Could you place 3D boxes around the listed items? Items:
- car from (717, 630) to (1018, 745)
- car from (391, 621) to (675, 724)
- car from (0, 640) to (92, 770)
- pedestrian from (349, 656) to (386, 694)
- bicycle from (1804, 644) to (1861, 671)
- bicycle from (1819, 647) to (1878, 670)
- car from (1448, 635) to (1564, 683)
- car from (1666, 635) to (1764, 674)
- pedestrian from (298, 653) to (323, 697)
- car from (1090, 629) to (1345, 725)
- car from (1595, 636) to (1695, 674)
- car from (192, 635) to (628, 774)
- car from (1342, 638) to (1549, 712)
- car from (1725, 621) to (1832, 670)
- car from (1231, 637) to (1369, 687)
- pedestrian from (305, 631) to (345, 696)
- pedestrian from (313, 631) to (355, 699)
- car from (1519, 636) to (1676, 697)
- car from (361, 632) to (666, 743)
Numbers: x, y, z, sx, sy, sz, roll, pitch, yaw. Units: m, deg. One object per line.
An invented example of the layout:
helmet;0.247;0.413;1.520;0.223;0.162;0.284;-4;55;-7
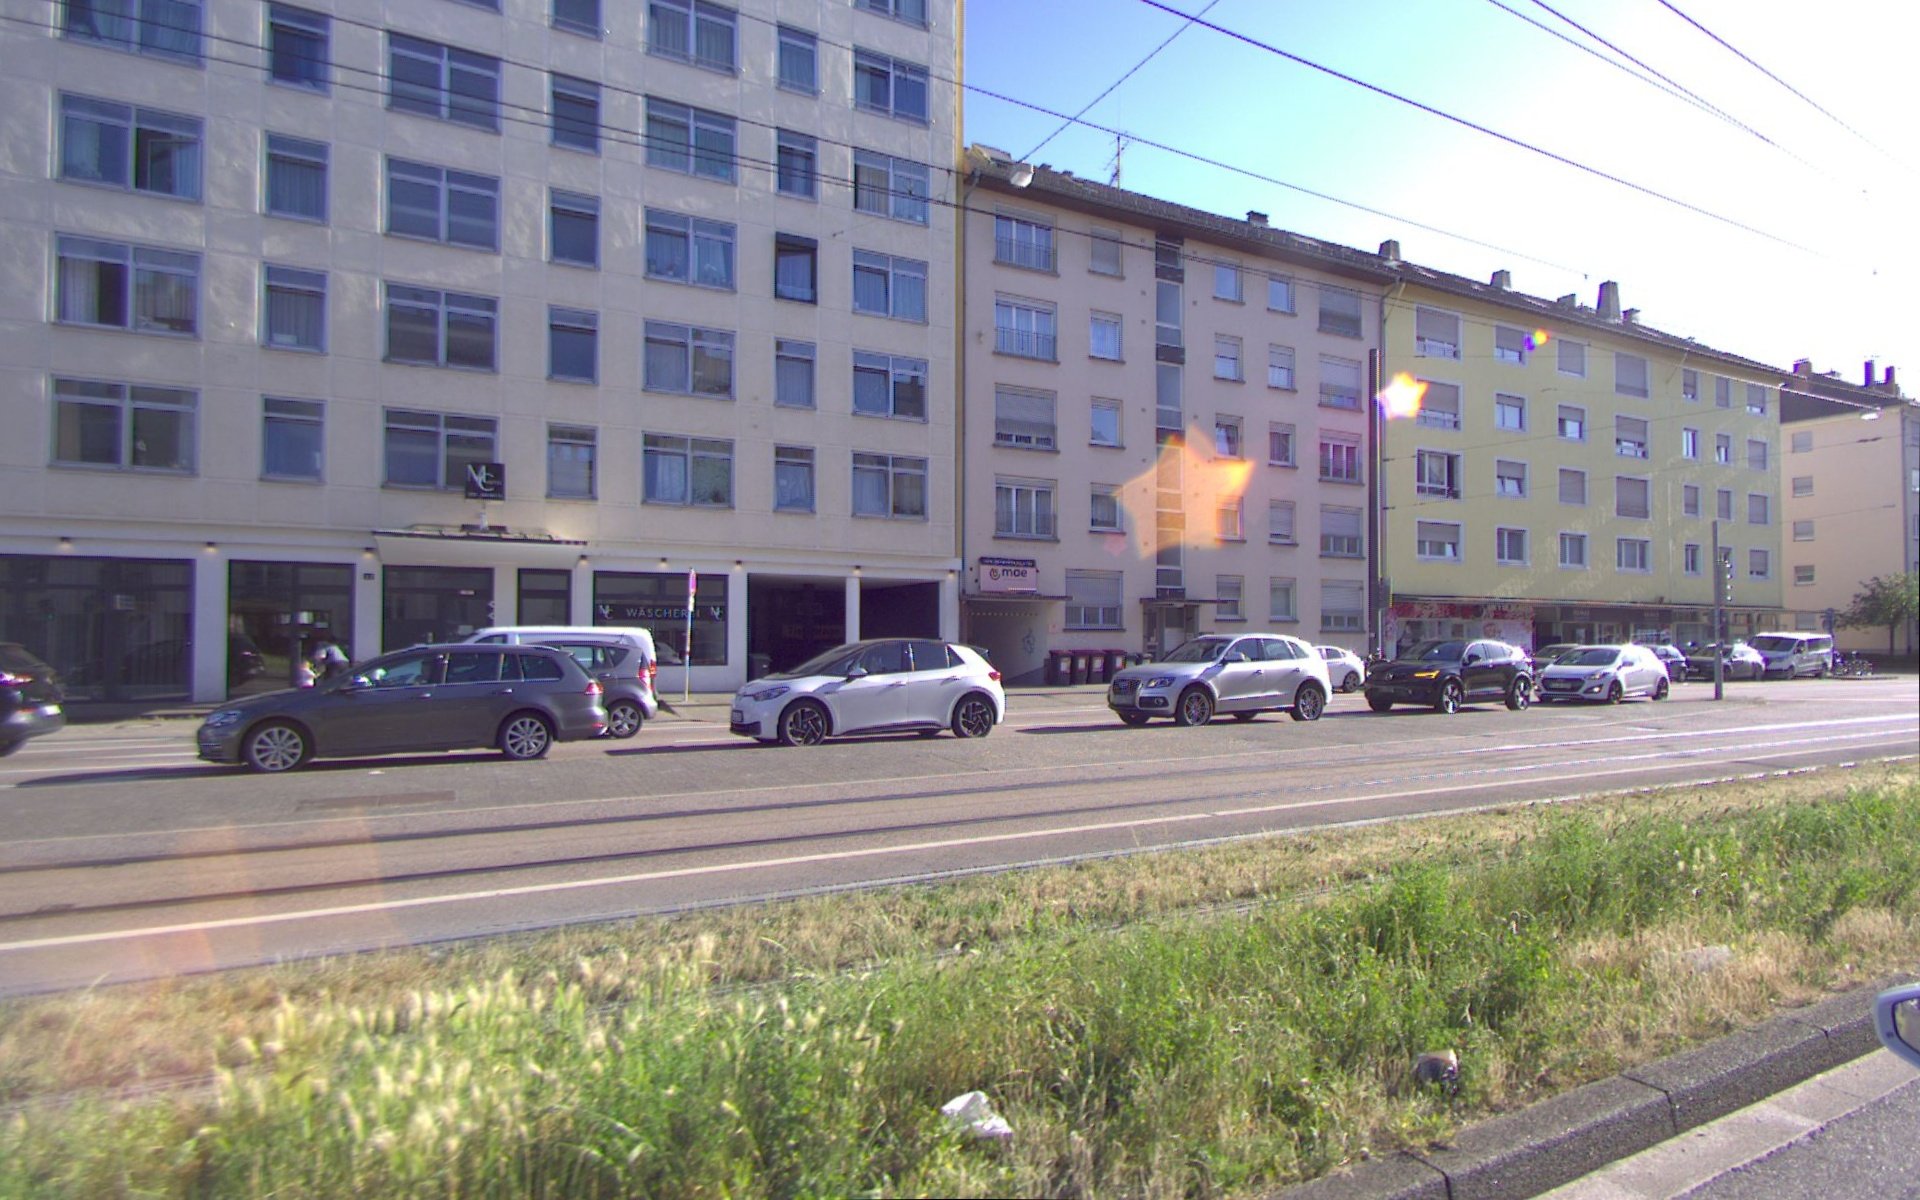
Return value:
car;-1.371;1.283;15.306;4.193;1.535;1.830;3;-3;-30
car;-8.876;1.454;21.139;5.260;1.894;1.934;2;0;-28
car;-13.645;1.276;12.459;3.997;1.596;1.782;2;-3;-29
pedestrian;-13.115;1.653;22.226;0.572;0.819;0.522;5;-4;-41
bicycle;41.229;2.701;47.485;1.938;1.222;0.695;0;-4;36
bicycle;42.884;2.807;48.514;0.797;1.035;2.057;5;-4;-40
car;19.384;2.057;35.651;3.752;1.602;1.825;1;-3;-27
car;32.099;2.338;42.711;3.864;1.507;1.760;4;-4;-25
pedestrian;-13.845;1.599;21.418;0.304;0.928;0.324;0;-4;37
car;4.831;1.389;18.696;4.574;1.597;1.858;1;-4;-29
car;27.659;2.225;40.534;3.716;1.445;1.694;2;-3;-25
car;-6.664;1.248;12.695;4.482;1.510;1.812;2;-3;-26
car;10.845;1.656;22.377;4.515;1.499;1.954;3;-3;-30
car;37.246;2.085;45.687;5.241;2.133;1.995;2;-3;-29
car;10.508;1.909;31.059;4.003;1.453;1.770;2;-3;-27
pedestrian;-13.879;1.397;21.956;0.598;1.394;0.494;5;-4;-42
pedestrian;-13.223;1.375;21.217;0.675;1.394;0.526;-1;-4;41
car;16.486;1.708;25.923;4.238;1.465;1.813;3;-3;-32
car;-7.171;1.372;16.324;4.271;1.596;1.974;2;-3;-29
